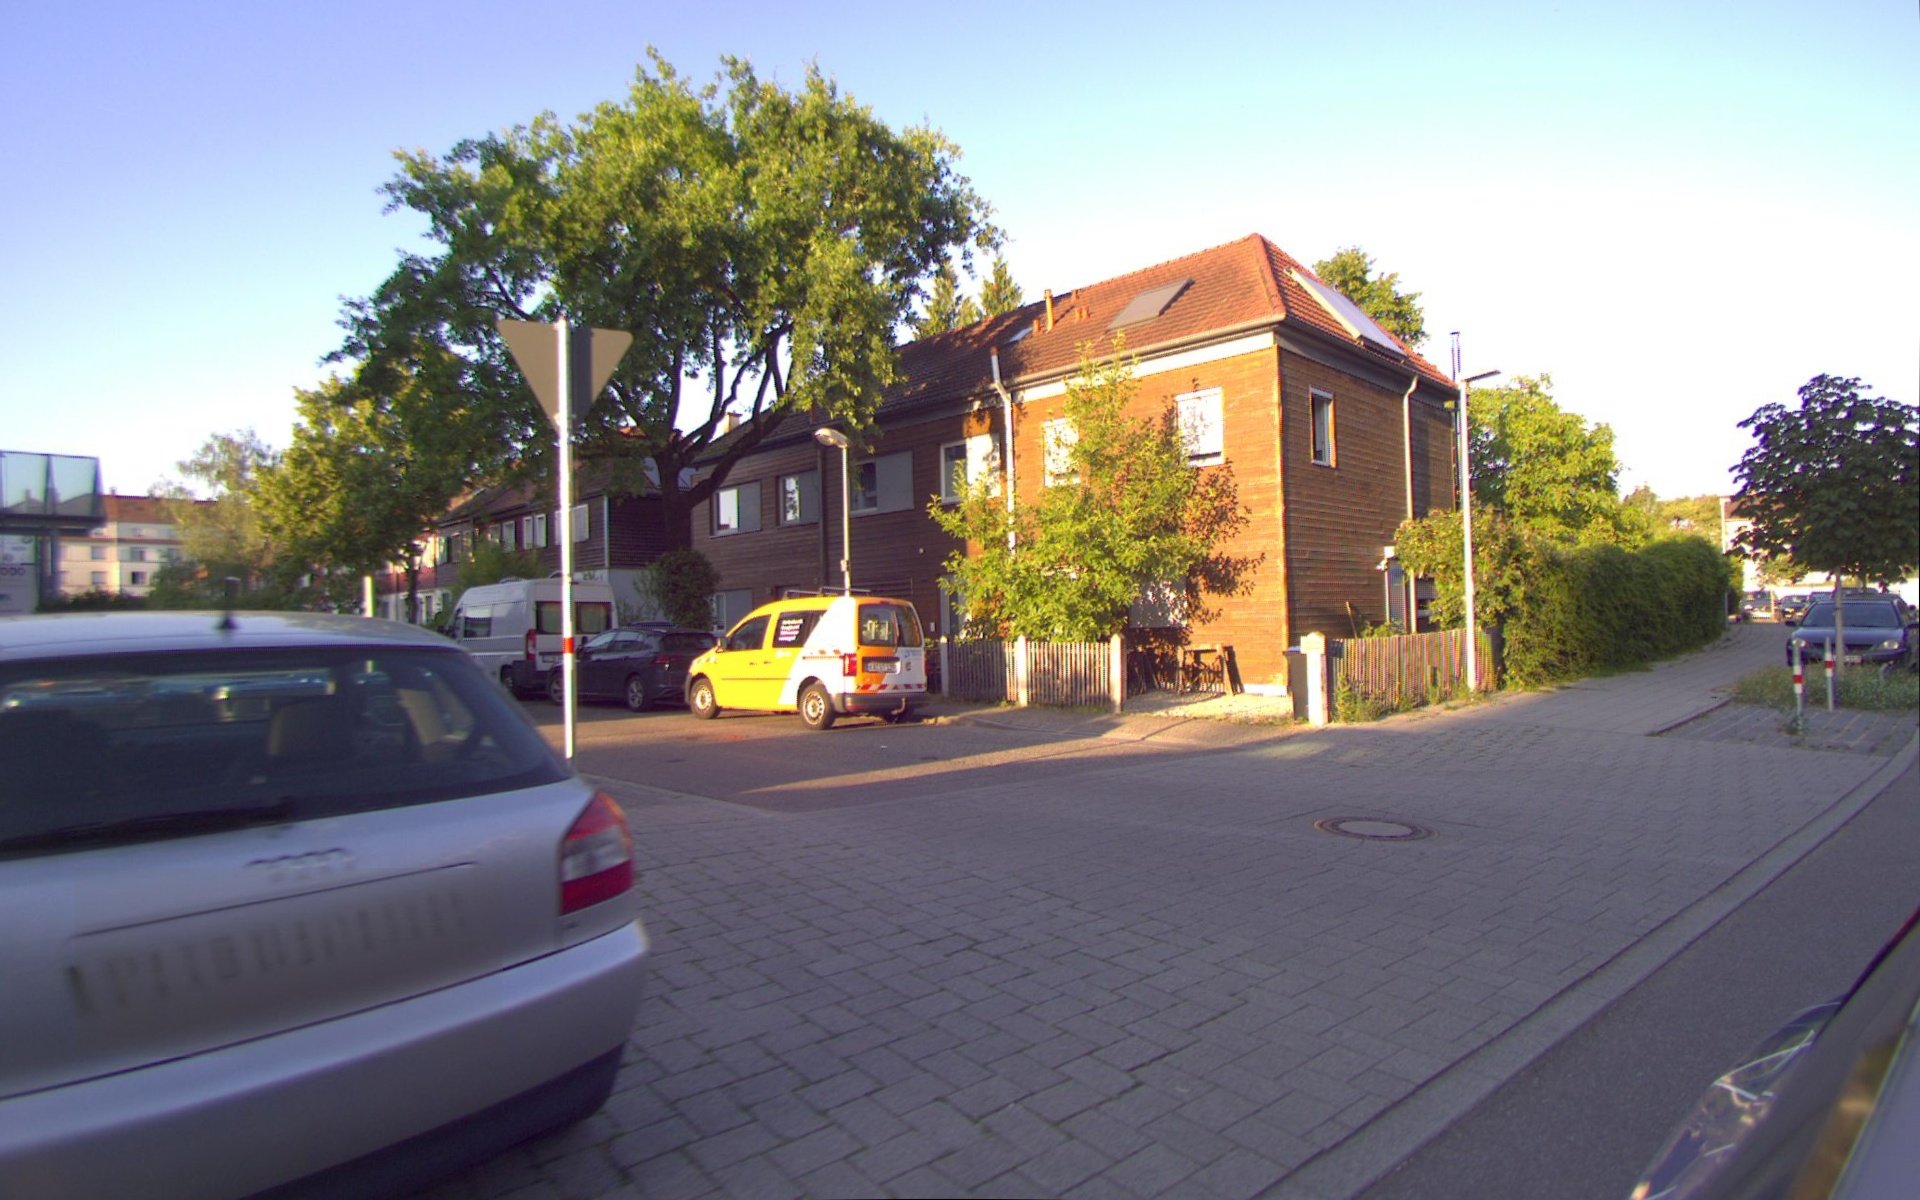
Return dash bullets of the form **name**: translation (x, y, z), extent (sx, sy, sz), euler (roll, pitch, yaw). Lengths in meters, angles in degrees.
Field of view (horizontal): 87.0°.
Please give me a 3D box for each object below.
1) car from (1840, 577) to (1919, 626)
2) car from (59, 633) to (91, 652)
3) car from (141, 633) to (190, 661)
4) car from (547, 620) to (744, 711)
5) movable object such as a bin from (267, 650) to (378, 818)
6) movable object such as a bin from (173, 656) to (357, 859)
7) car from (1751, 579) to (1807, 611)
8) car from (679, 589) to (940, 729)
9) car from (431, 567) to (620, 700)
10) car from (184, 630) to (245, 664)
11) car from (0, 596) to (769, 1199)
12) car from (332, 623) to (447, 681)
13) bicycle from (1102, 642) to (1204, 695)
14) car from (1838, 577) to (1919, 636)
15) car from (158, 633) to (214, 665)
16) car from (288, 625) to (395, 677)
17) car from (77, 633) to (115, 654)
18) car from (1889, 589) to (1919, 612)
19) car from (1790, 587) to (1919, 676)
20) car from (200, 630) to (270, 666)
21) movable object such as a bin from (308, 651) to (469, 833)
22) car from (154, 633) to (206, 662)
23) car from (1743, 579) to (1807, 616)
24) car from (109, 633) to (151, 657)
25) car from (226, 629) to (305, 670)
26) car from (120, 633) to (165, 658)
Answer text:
- **car**: translation (29.556, 0.037, 32.491), extent (1.765, 1.481, 4.299), euler (-1, 0, 43)
- **car**: translation (-79.120, 3.787, 90.456), extent (3.595, 1.576, 1.781), euler (-2, -2, 43)
- **car**: translation (-47.814, 2.798, 60.892), extent (3.595, 1.576, 1.781), euler (-2, -2, 43)
- **car**: translation (-5.777, 1.124, 18.444), extent (3.595, 1.474, 1.927), euler (-2, -2, 43)
- **movable object such as a bin**: translation (-4.265, 0.867, 6.767), extent (0.642, 1.034, 0.440), euler (-2, -1, 39)
- **movable object such as a bin**: translation (-4.055, 0.868, 5.906), extent (0.754, 1.034, 0.702), euler (-2, -1, 39)
- **car**: translation (39.656, -0.240, 48.958), extent (1.765, 1.481, 4.299), euler (-1, 0, 43)
- **car**: translation (-2.306, 0.811, 14.931), extent (3.938, 1.789, 1.755), euler (-2, -2, 43)
- **car**: translation (-9.547, 0.716, 22.085), extent (4.736, 2.593, 2.065), euler (-2, -2, 43)
- **car**: translation (-36.756, 2.288, 49.894), extent (3.595, 1.576, 1.781), euler (-2, -2, 43)
- **car**: translation (-2.518, 0.703, 3.210), extent (1.865, 1.425, 4.058), euler (0, 0, -44)
- **car**: translation (-16.720, 1.488, 29.593), extent (3.595, 1.576, 1.927), euler (-2, -2, 43)
- **bicycle**: translation (3.219, 1.130, 16.977), extent (0.556, 0.807, 1.699), euler (-1, -1, -40)
- **car**: translation (25.266, 0.144, 27.611), extent (1.765, 1.481, 4.299), euler (-1, 0, 43)
- **car**: translation (-40.755, 2.556, 53.276), extent (3.595, 1.576, 1.781), euler (-2, -2, 43)
- **car**: translation (-20.339, 1.640, 33.216), extent (4.247, 1.576, 1.927), euler (-2, -2, 43)
- **car**: translation (-68.645, 3.458, 80.360), extent (4.595, 1.576, 1.781), euler (-2, -2, 43)
- **car**: translation (63.433, 0.018, 67.696), extent (1.792, 1.365, 3.967), euler (-5, -3, 42)
- **car**: translation (16.958, 0.509, 18.913), extent (4.295, 1.481, 1.678), euler (-1, 0, -43)
- **car**: translation (-33.209, 2.169, 46.318), extent (3.595, 1.576, 1.927), euler (-2, -2, 43)
- **movable object such as a bin**: translation (-3.622, 0.857, 6.425), extent (0.642, 1.034, 0.702), euler (-2, -1, 39)
- **car**: translation (-44.462, 2.691, 57.664), extent (3.595, 1.576, 1.781), euler (-2, -2, 43)
- **car**: translation (34.899, -0.121, 43.294), extent (1.765, 1.481, 4.299), euler (-1, 0, 43)
- **car**: translation (-56.932, 3.057, 69.402), extent (3.595, 1.576, 1.781), euler (-2, -2, 43)
- **car**: translation (-28.302, 1.991, 41.201), extent (3.595, 1.576, 1.927), euler (-2, -2, 43)
- **car**: translation (-53.516, 2.969, 66.223), extent (3.595, 1.576, 1.781), euler (-2, -2, 43)
